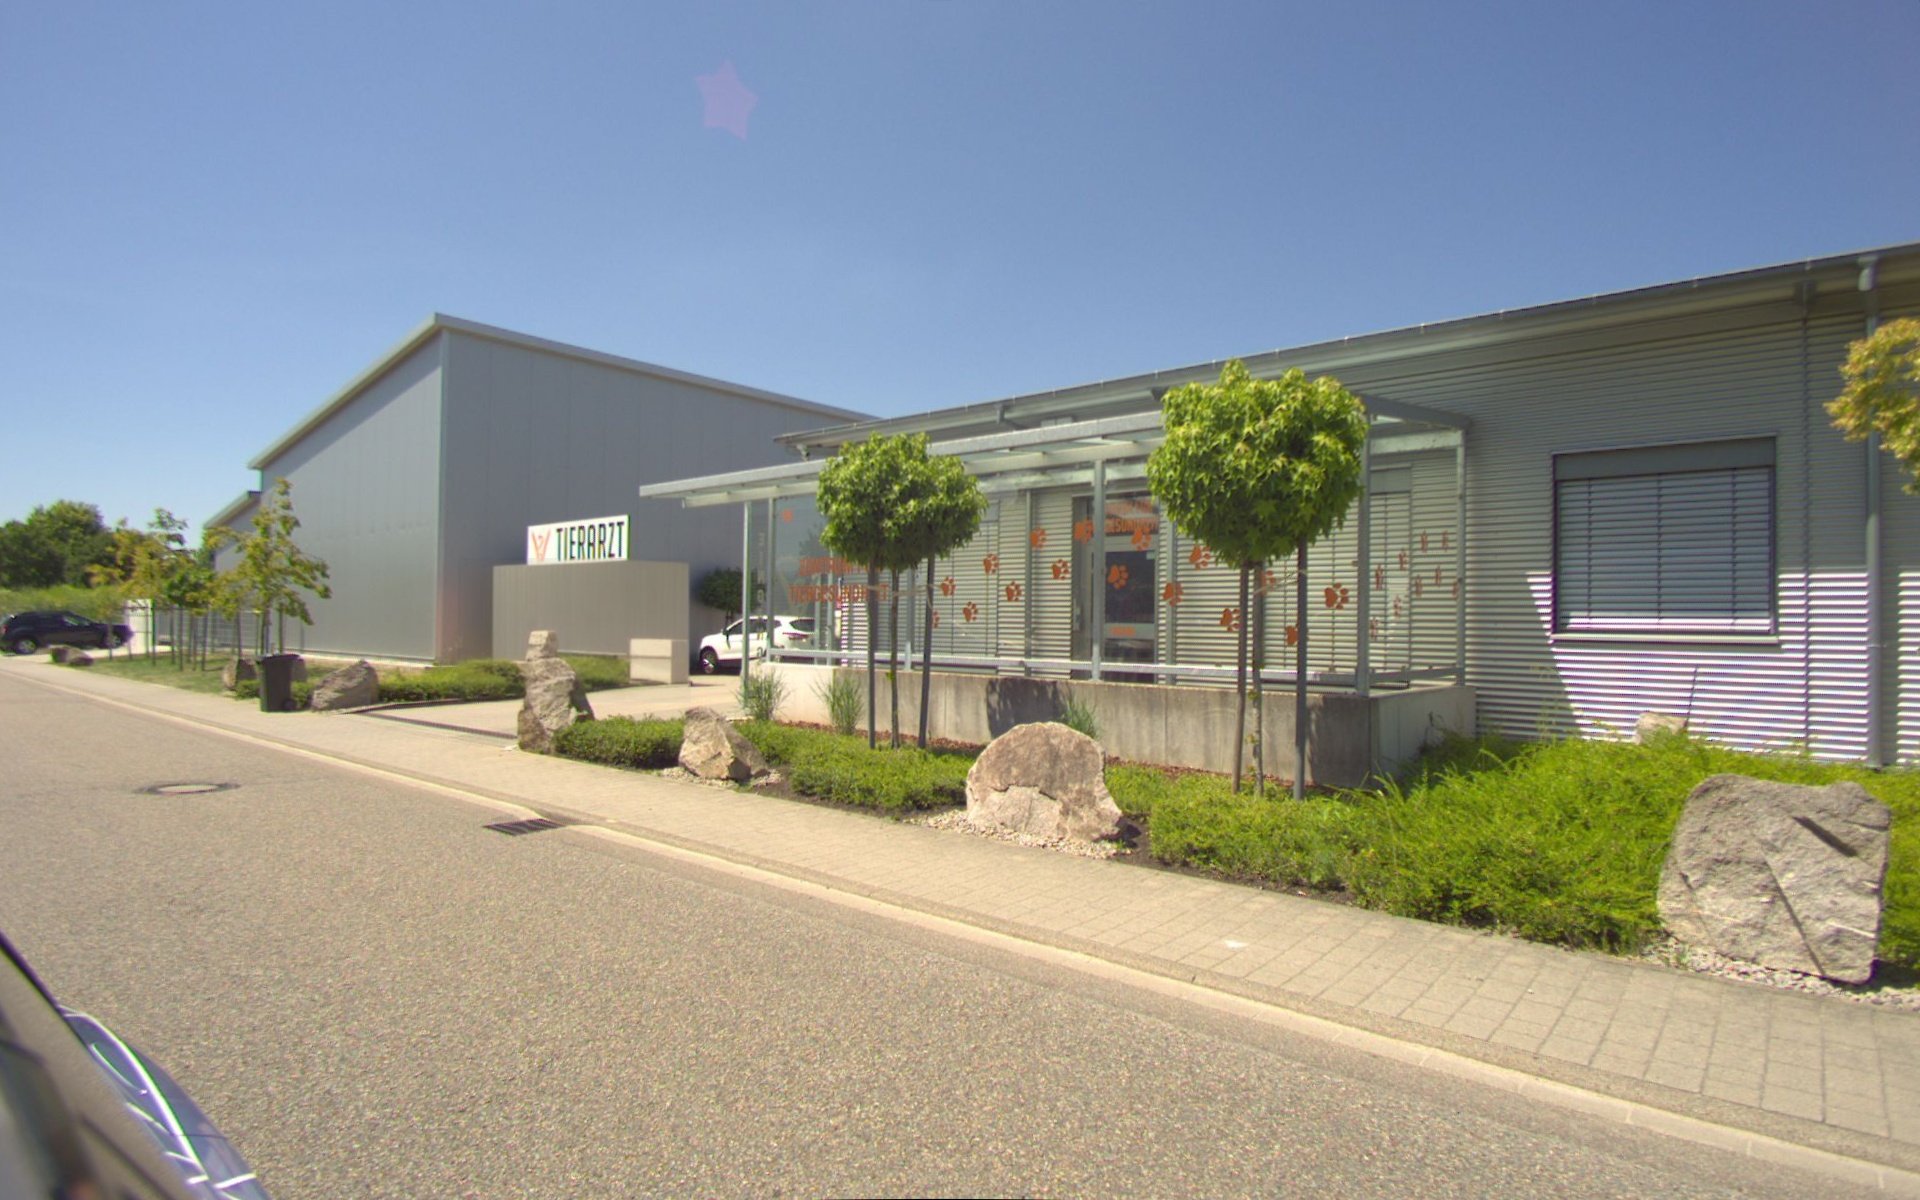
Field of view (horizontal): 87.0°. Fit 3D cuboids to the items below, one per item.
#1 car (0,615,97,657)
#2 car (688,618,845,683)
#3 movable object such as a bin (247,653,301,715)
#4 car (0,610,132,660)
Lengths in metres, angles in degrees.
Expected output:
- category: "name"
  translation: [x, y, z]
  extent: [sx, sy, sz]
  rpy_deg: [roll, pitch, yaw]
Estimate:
- category: "car"
  translation: [-38.304, 1.470, 42.078]
  extent: [1.779, 1.472, 3.329]
  rpy_deg: [-1, 3, 38]
- category: "car"
  translation: [-5.199, 1.307, 27.037]
  extent: [3.991, 1.596, 1.890]
  rpy_deg: [-1, -2, 35]
- category: "movable object such as a bin"
  translation: [-11.152, 1.355, 16.457]
  extent: [0.511, 0.957, 0.565]
  rpy_deg: [-1, -2, 35]
- category: "car"
  translation: [-36.141, 1.360, 40.688]
  extent: [1.780, 1.671, 4.121]
  rpy_deg: [0, 3, 40]
